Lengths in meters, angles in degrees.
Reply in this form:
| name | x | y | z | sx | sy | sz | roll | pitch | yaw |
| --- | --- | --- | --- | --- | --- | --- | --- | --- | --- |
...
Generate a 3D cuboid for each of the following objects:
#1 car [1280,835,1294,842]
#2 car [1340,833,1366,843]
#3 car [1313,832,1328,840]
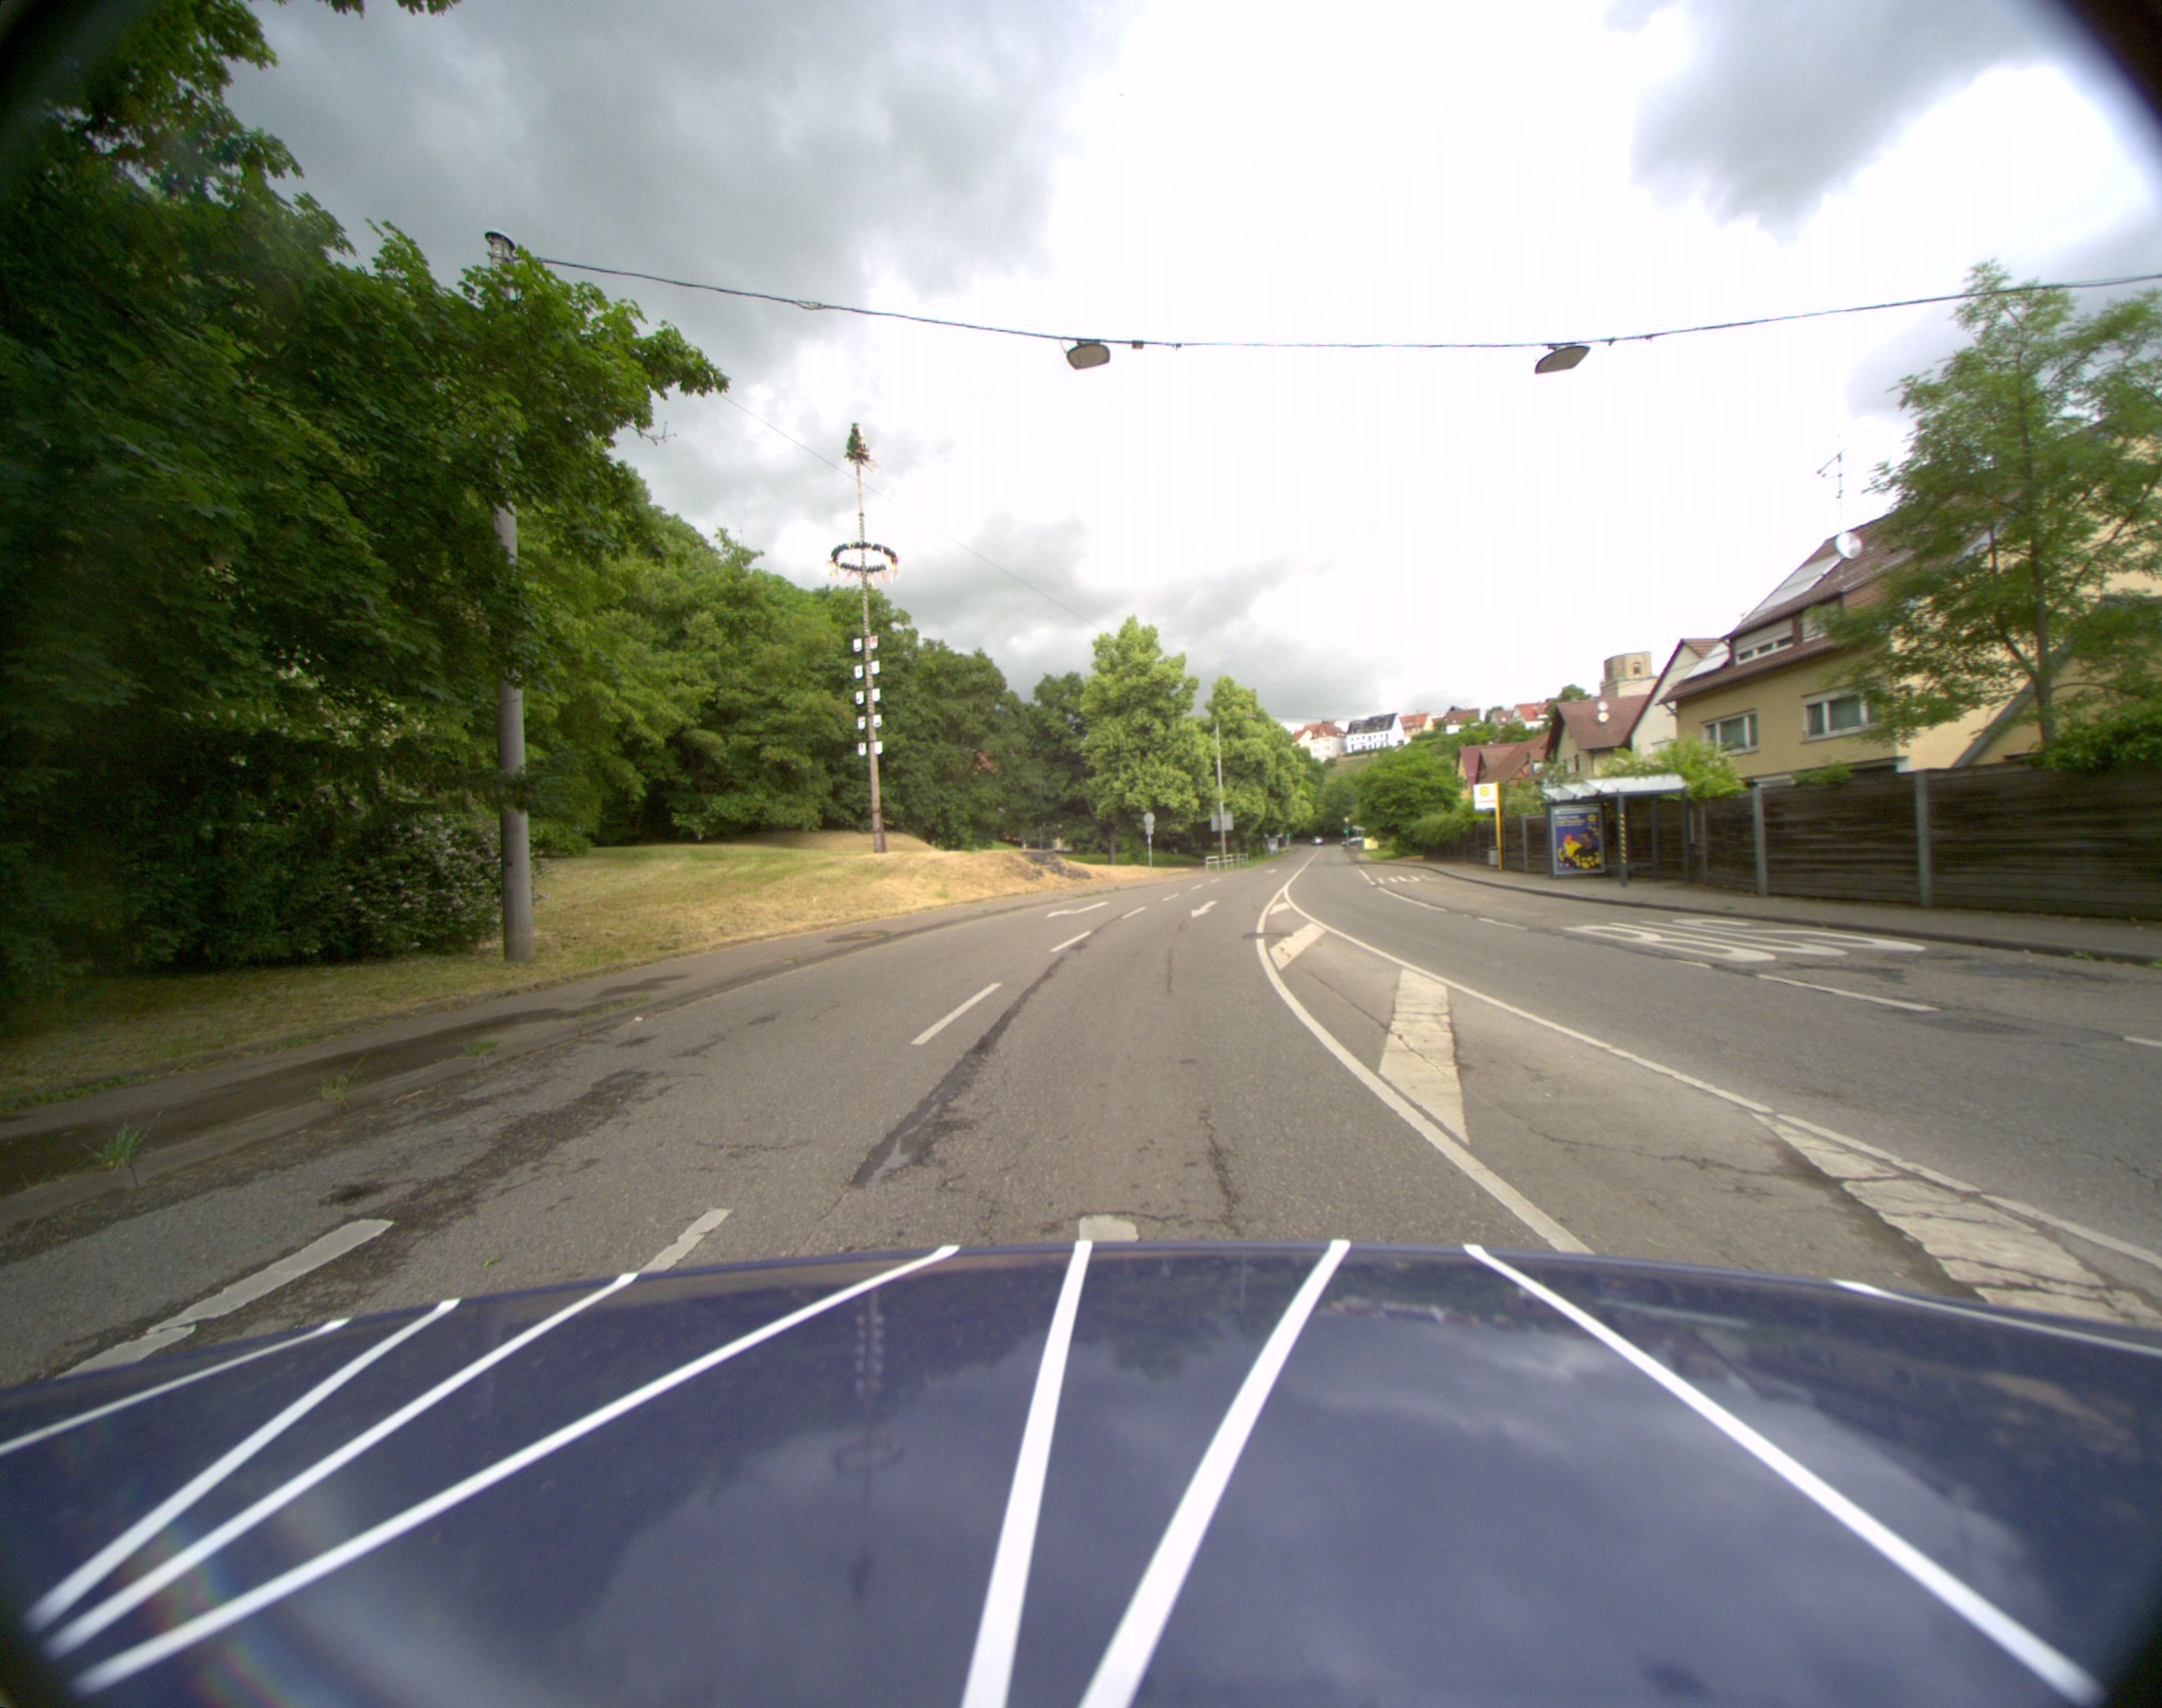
| name | x | y | z | sx | sy | sz | roll | pitch | yaw |
| --- | --- | --- | --- | --- | --- | --- | --- | --- | --- |
| car | 45.467 | -3.470 | 167.938 | 1.764 | 1.516 | 3.681 | -2 | 1 | -5 |
| car | 44.962 | -2.638 | 125.623 | 3.674 | 1.575 | 1.768 | -2 | 1 | 28 |
| car | 47.384 | -3.547 | 150.561 | 1.997 | 1.608 | 4.001 | -2 | 1 | 7 |
